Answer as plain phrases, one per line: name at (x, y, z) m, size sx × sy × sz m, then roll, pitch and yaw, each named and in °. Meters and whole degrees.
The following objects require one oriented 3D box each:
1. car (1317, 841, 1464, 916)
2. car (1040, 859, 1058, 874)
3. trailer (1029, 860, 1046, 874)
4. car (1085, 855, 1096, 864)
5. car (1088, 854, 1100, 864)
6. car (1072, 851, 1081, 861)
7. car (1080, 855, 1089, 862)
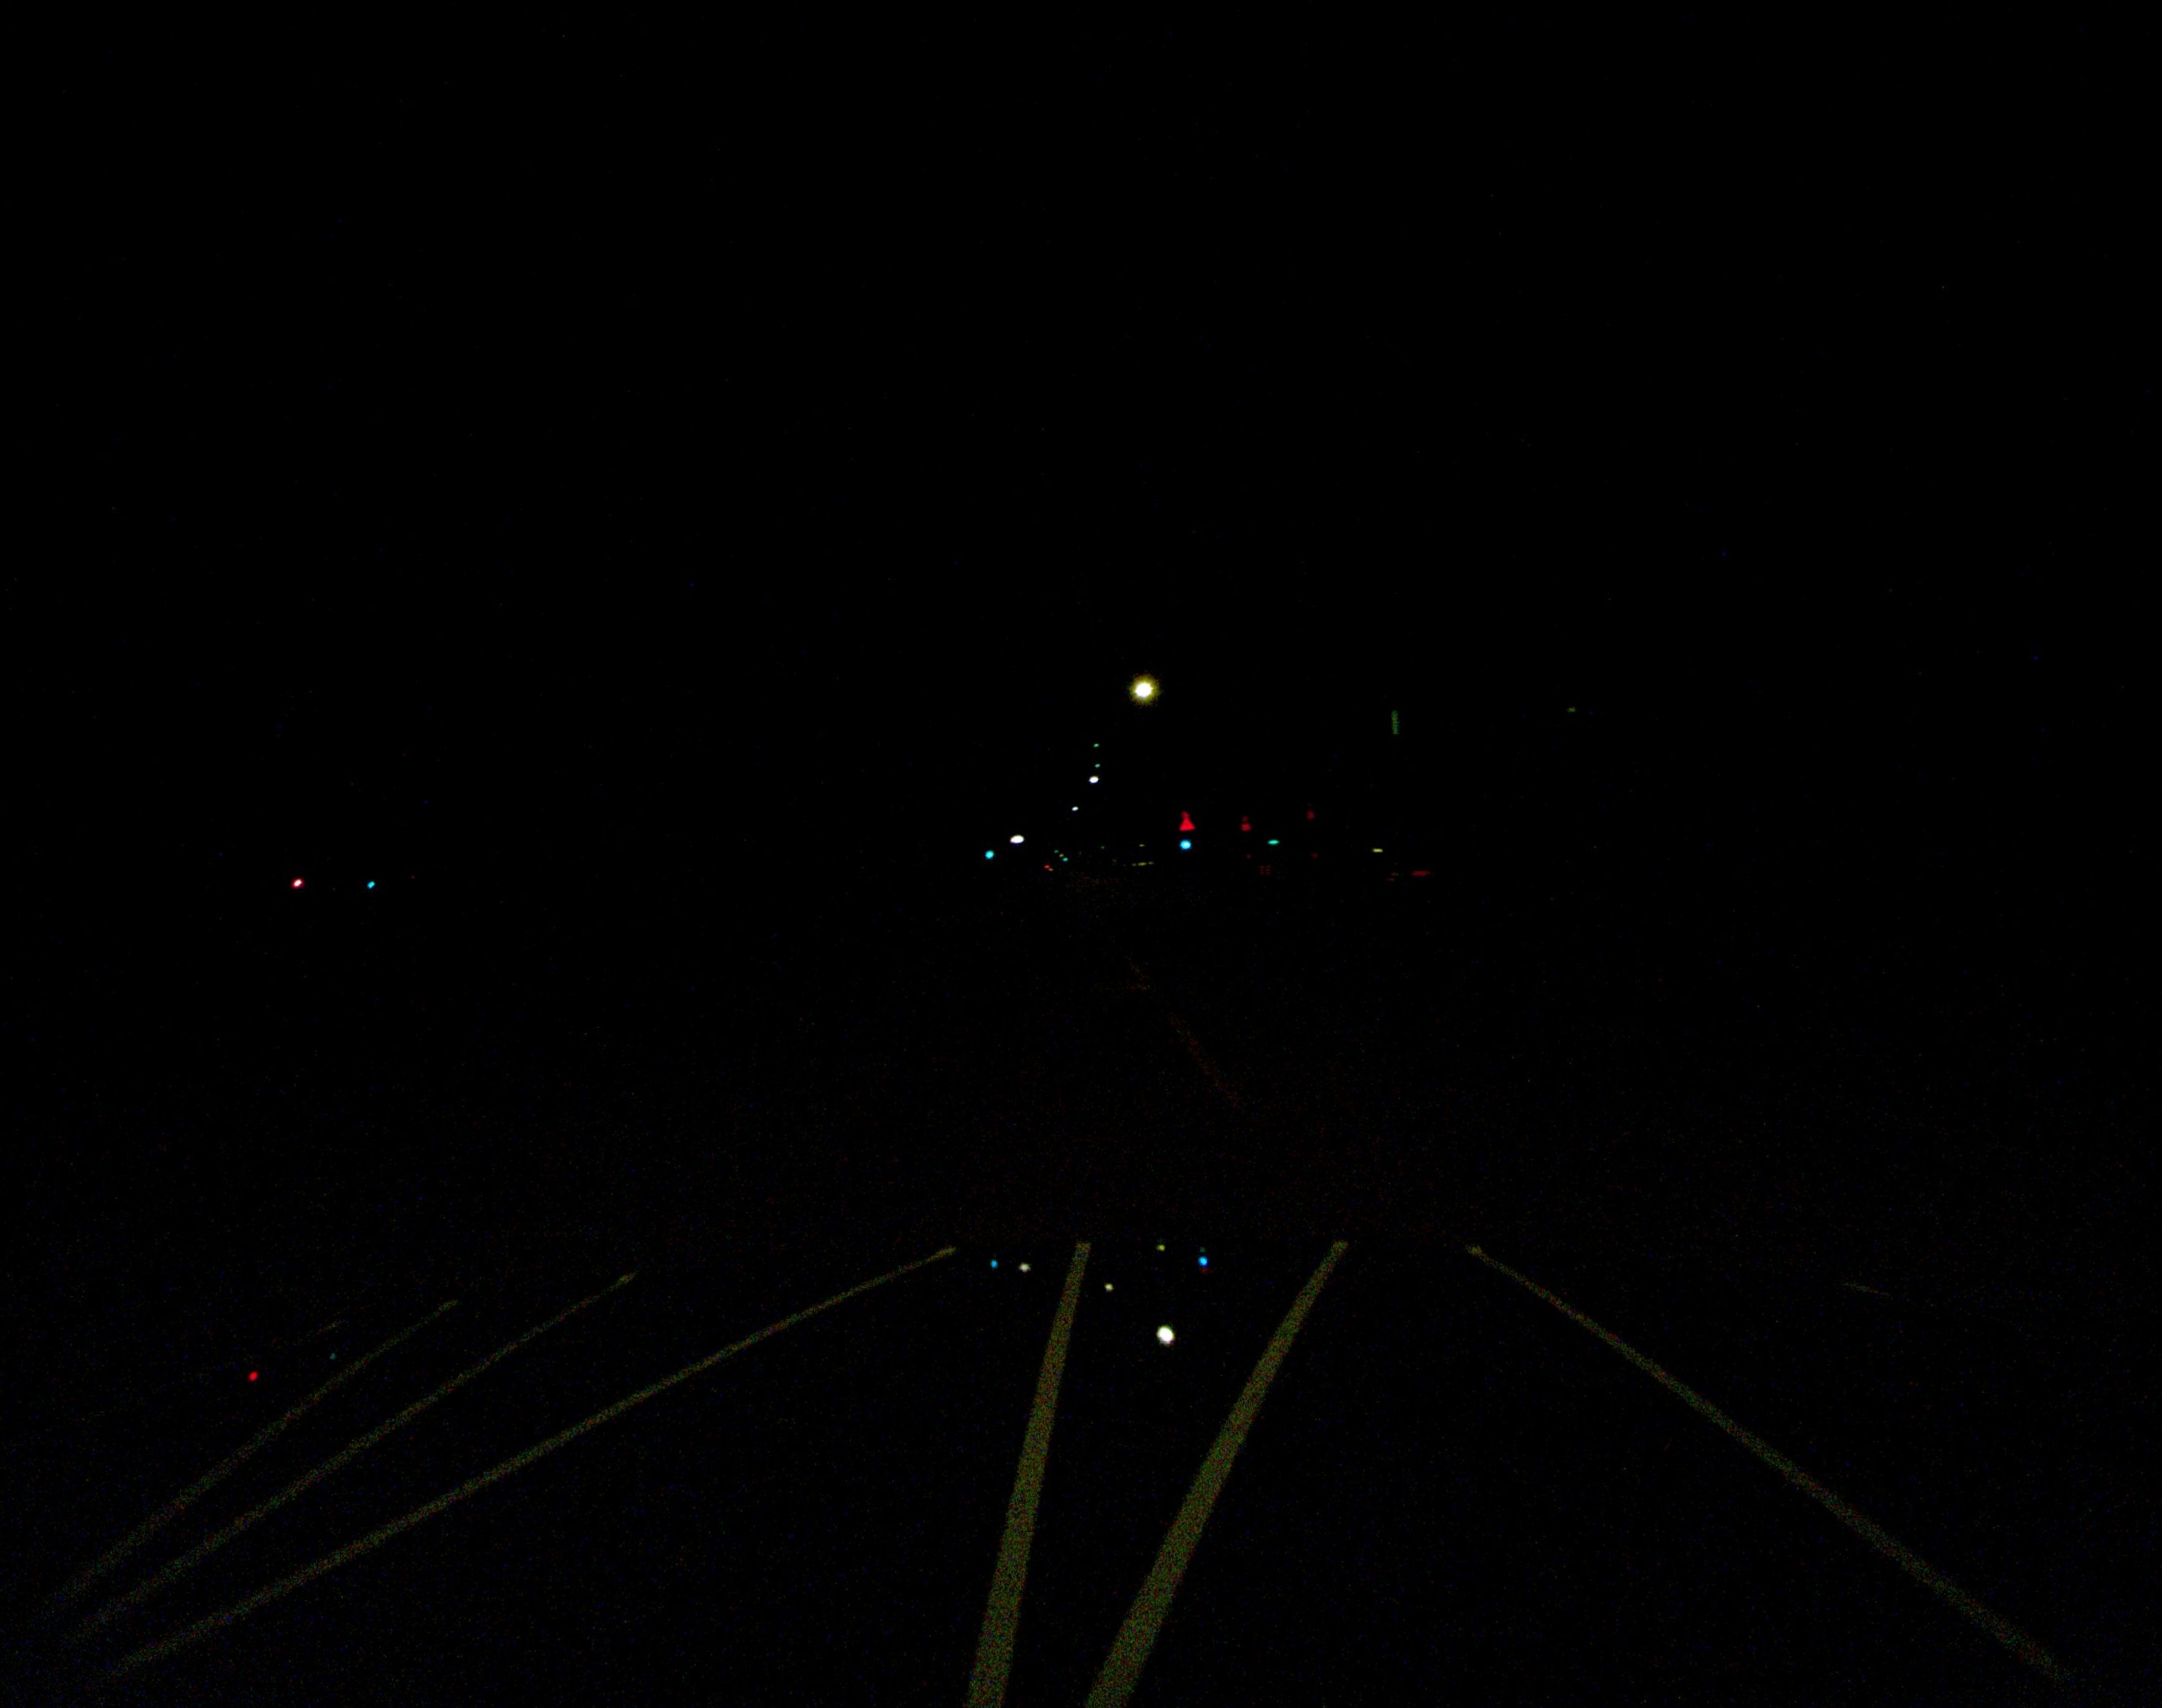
car at (7.289, 0.545, 18.356) m, size 1.718 × 1.485 × 3.989 m, roll -4°, pitch 0°, yaw -2°
car at (-3.395, 1.285, 81.459) m, size 1.591 × 1.452 × 3.797 m, roll -4°, pitch 0°, yaw 0°
trailer at (-5.148, 1.530, 90.569) m, size 1.604 × 1.486 × 3.734 m, roll -4°, pitch 0°, yaw 2°
car at (1.819, 1.032, 146.484) m, size 1.826 × 1.423 × 3.731 m, roll -6°, pitch 0°, yaw -1°
car at (2.412, 0.919, 140.481) m, size 1.883 × 1.798 × 3.731 m, roll -6°, pitch 0°, yaw -1°
car at (-1.251, 0.612, 212.960) m, size 2.005 × 2.493 × 4.952 m, roll -6°, pitch 0°, yaw -4°
car at (0.760, 0.995, 168.510) m, size 1.826 × 1.637 × 3.731 m, roll -2°, pitch 0°, yaw -1°
